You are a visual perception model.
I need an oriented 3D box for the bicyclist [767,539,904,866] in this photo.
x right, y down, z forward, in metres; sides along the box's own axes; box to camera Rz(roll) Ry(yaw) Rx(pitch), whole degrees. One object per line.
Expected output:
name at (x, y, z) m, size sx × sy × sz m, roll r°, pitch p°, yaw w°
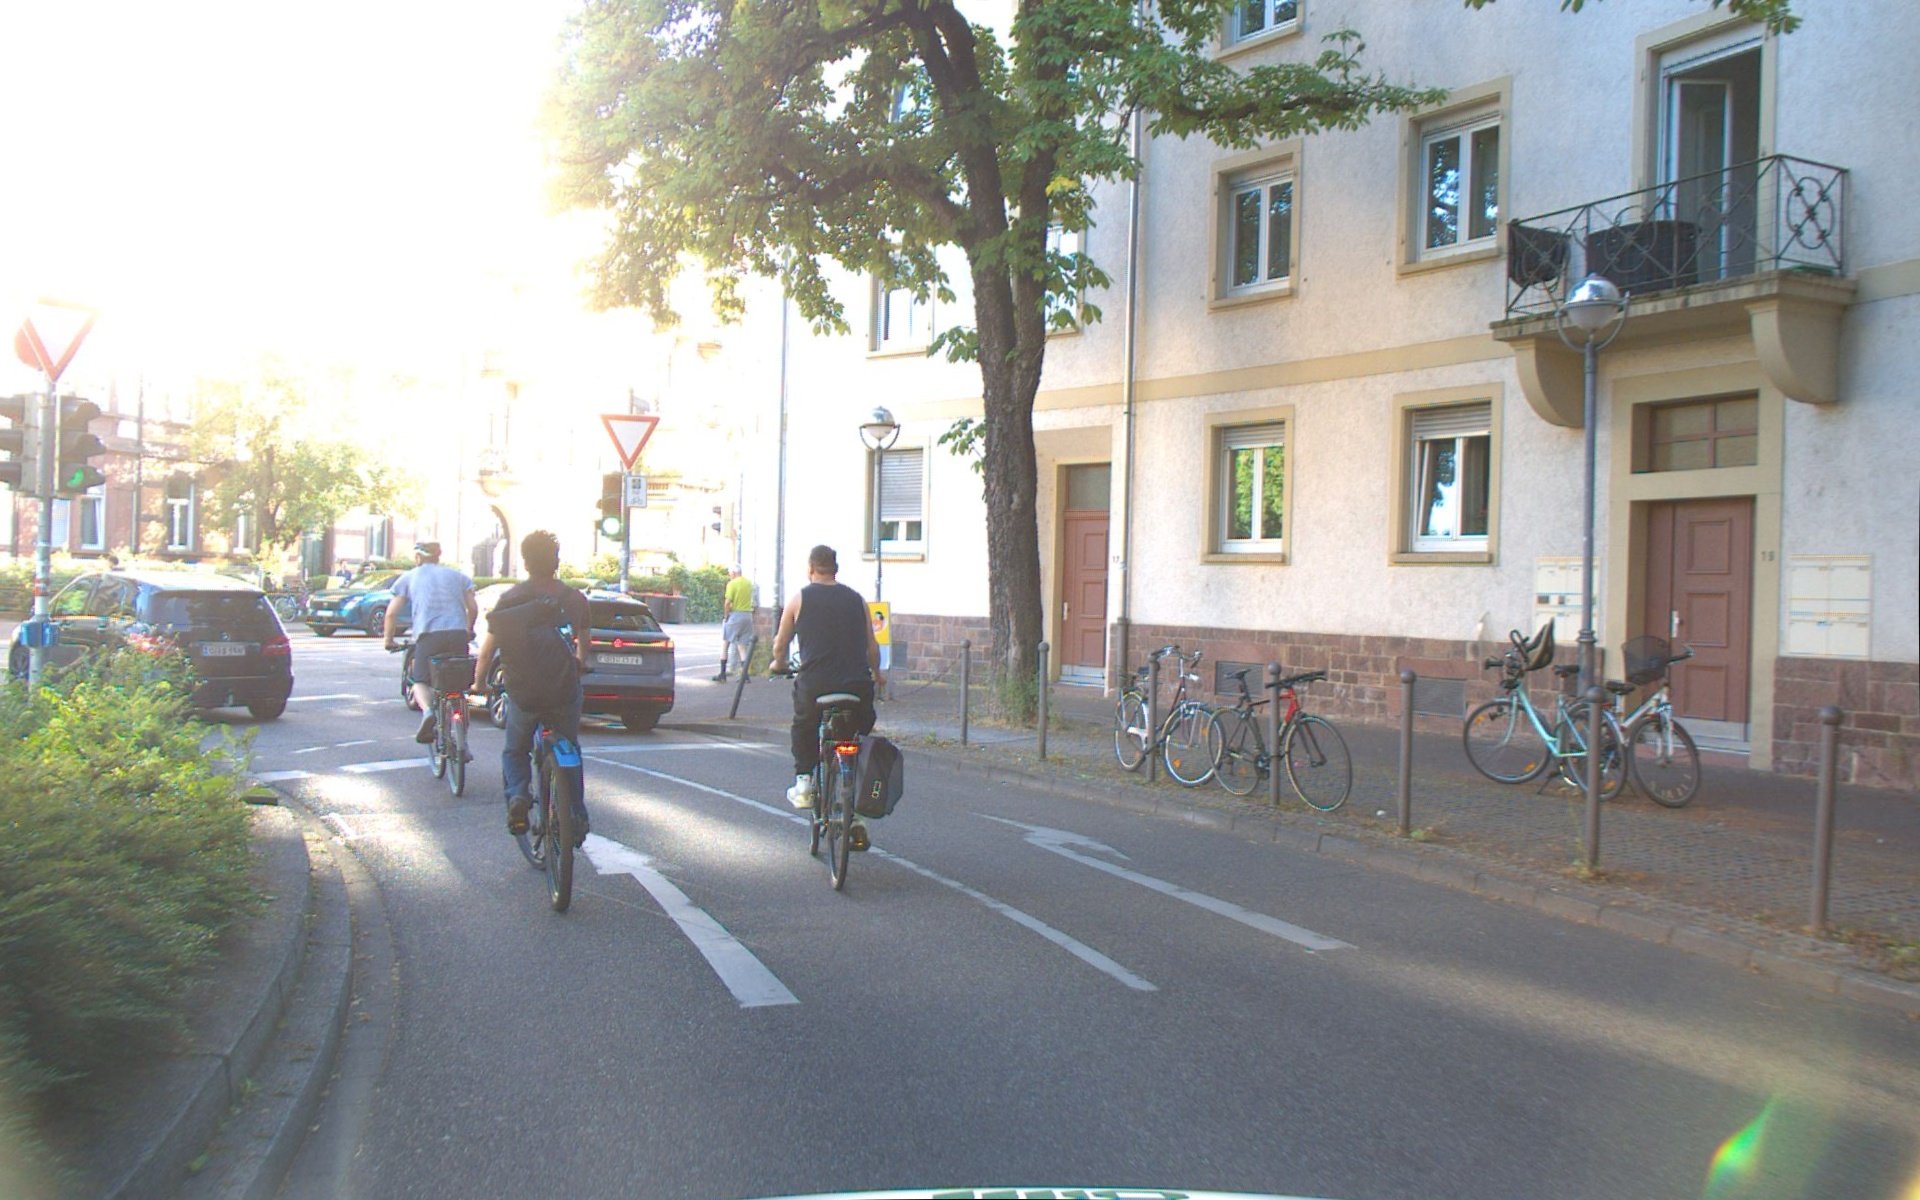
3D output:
bicyclist at (-0.701, 0.527, 9.072) m, size 0.673 × 1.685 × 0.988 m, roll 0°, pitch 0°, yaw -8°

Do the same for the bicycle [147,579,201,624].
bicycle at (-20.226, 0.045, 42.580) m, size 0.433 × 1.126 × 1.232 m, roll 2°, pitch 1°, yaw 25°

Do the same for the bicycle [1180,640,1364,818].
bicycle at (2.261, 0.903, 12.193) m, size 0.518 × 1.126 × 1.730 m, roll -1°, pitch 1°, yaw -20°

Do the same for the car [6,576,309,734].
car at (-8.962, 0.525, 18.350) m, size 3.792 × 1.569 × 1.784 m, roll 1°, pitch 1°, yaw 43°

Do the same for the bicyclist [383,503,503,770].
bicyclist at (-3.959, 0.272, 12.624) m, size 0.782 × 1.947 × 0.939 m, roll 2°, pitch 0°, yaw -20°

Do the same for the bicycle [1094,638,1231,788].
bicycle at (1.654, 0.901, 13.726) m, size 0.473 × 1.082 × 1.627 m, roll -1°, pitch 2°, yaw -18°

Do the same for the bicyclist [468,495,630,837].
bicyclist at (-2.042, 0.315, 8.280) m, size 0.694 × 1.601 × 0.954 m, roll 2°, pitch 0°, yaw -13°

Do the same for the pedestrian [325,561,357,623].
pedestrian at (-17.538, -0.221, 46.888) m, size 0.510 × 1.745 × 0.635 m, roll 2°, pitch 0°, yaw 33°

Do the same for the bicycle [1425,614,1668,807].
bicycle at (4.365, 0.772, 12.483) m, size 0.706 × 1.299 × 1.957 m, roll 0°, pitch 1°, yaw -17°

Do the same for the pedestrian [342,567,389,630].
pedestrian at (-16.507, -0.039, 45.930) m, size 0.698 × 1.693 × 0.894 m, roll 5°, pitch 2°, yaw 37°

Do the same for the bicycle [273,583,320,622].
bicycle at (-18.549, 0.080, 46.243) m, size 0.433 × 1.056 × 1.233 m, roll 2°, pitch 0°, yaw 24°

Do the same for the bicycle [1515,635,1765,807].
bicycle at (5.062, 0.869, 12.466) m, size 0.656 × 1.126 × 1.958 m, roll 2°, pitch 0°, yaw -16°

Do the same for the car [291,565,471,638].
car at (-14.527, 0.046, 41.785) m, size 1.902 × 1.679 × 4.411 m, roll 2°, pitch 0°, yaw 20°

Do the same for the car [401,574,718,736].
car at (-4.736, 0.570, 19.083) m, size 1.955 × 1.613 × 4.417 m, roll 3°, pitch -1°, yaw -36°

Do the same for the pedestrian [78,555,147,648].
pedestrian at (-15.946, 0.023, 31.137) m, size 0.886 × 1.663 × 0.723 m, roll 4°, pitch 0°, yaw -12°

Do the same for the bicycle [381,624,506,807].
bicycle at (-3.975, 0.823, 12.619) m, size 0.798 × 1.205 × 2.214 m, roll 2°, pitch 0°, yaw -20°

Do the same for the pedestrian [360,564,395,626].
pedestrian at (-16.685, -0.139, 47.343) m, size 0.650 × 1.745 × 0.635 m, roll 2°, pitch 0°, yaw 33°

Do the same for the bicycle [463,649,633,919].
bicycle at (-2.079, 0.856, 8.389) m, size 0.705 × 1.126 × 1.960 m, roll 2°, pitch 0°, yaw -14°

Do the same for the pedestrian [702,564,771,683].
pedestrian at (-3.405, 0.343, 25.193) m, size 0.640 × 1.757 × 0.874 m, roll -2°, pitch 2°, yaw -44°
